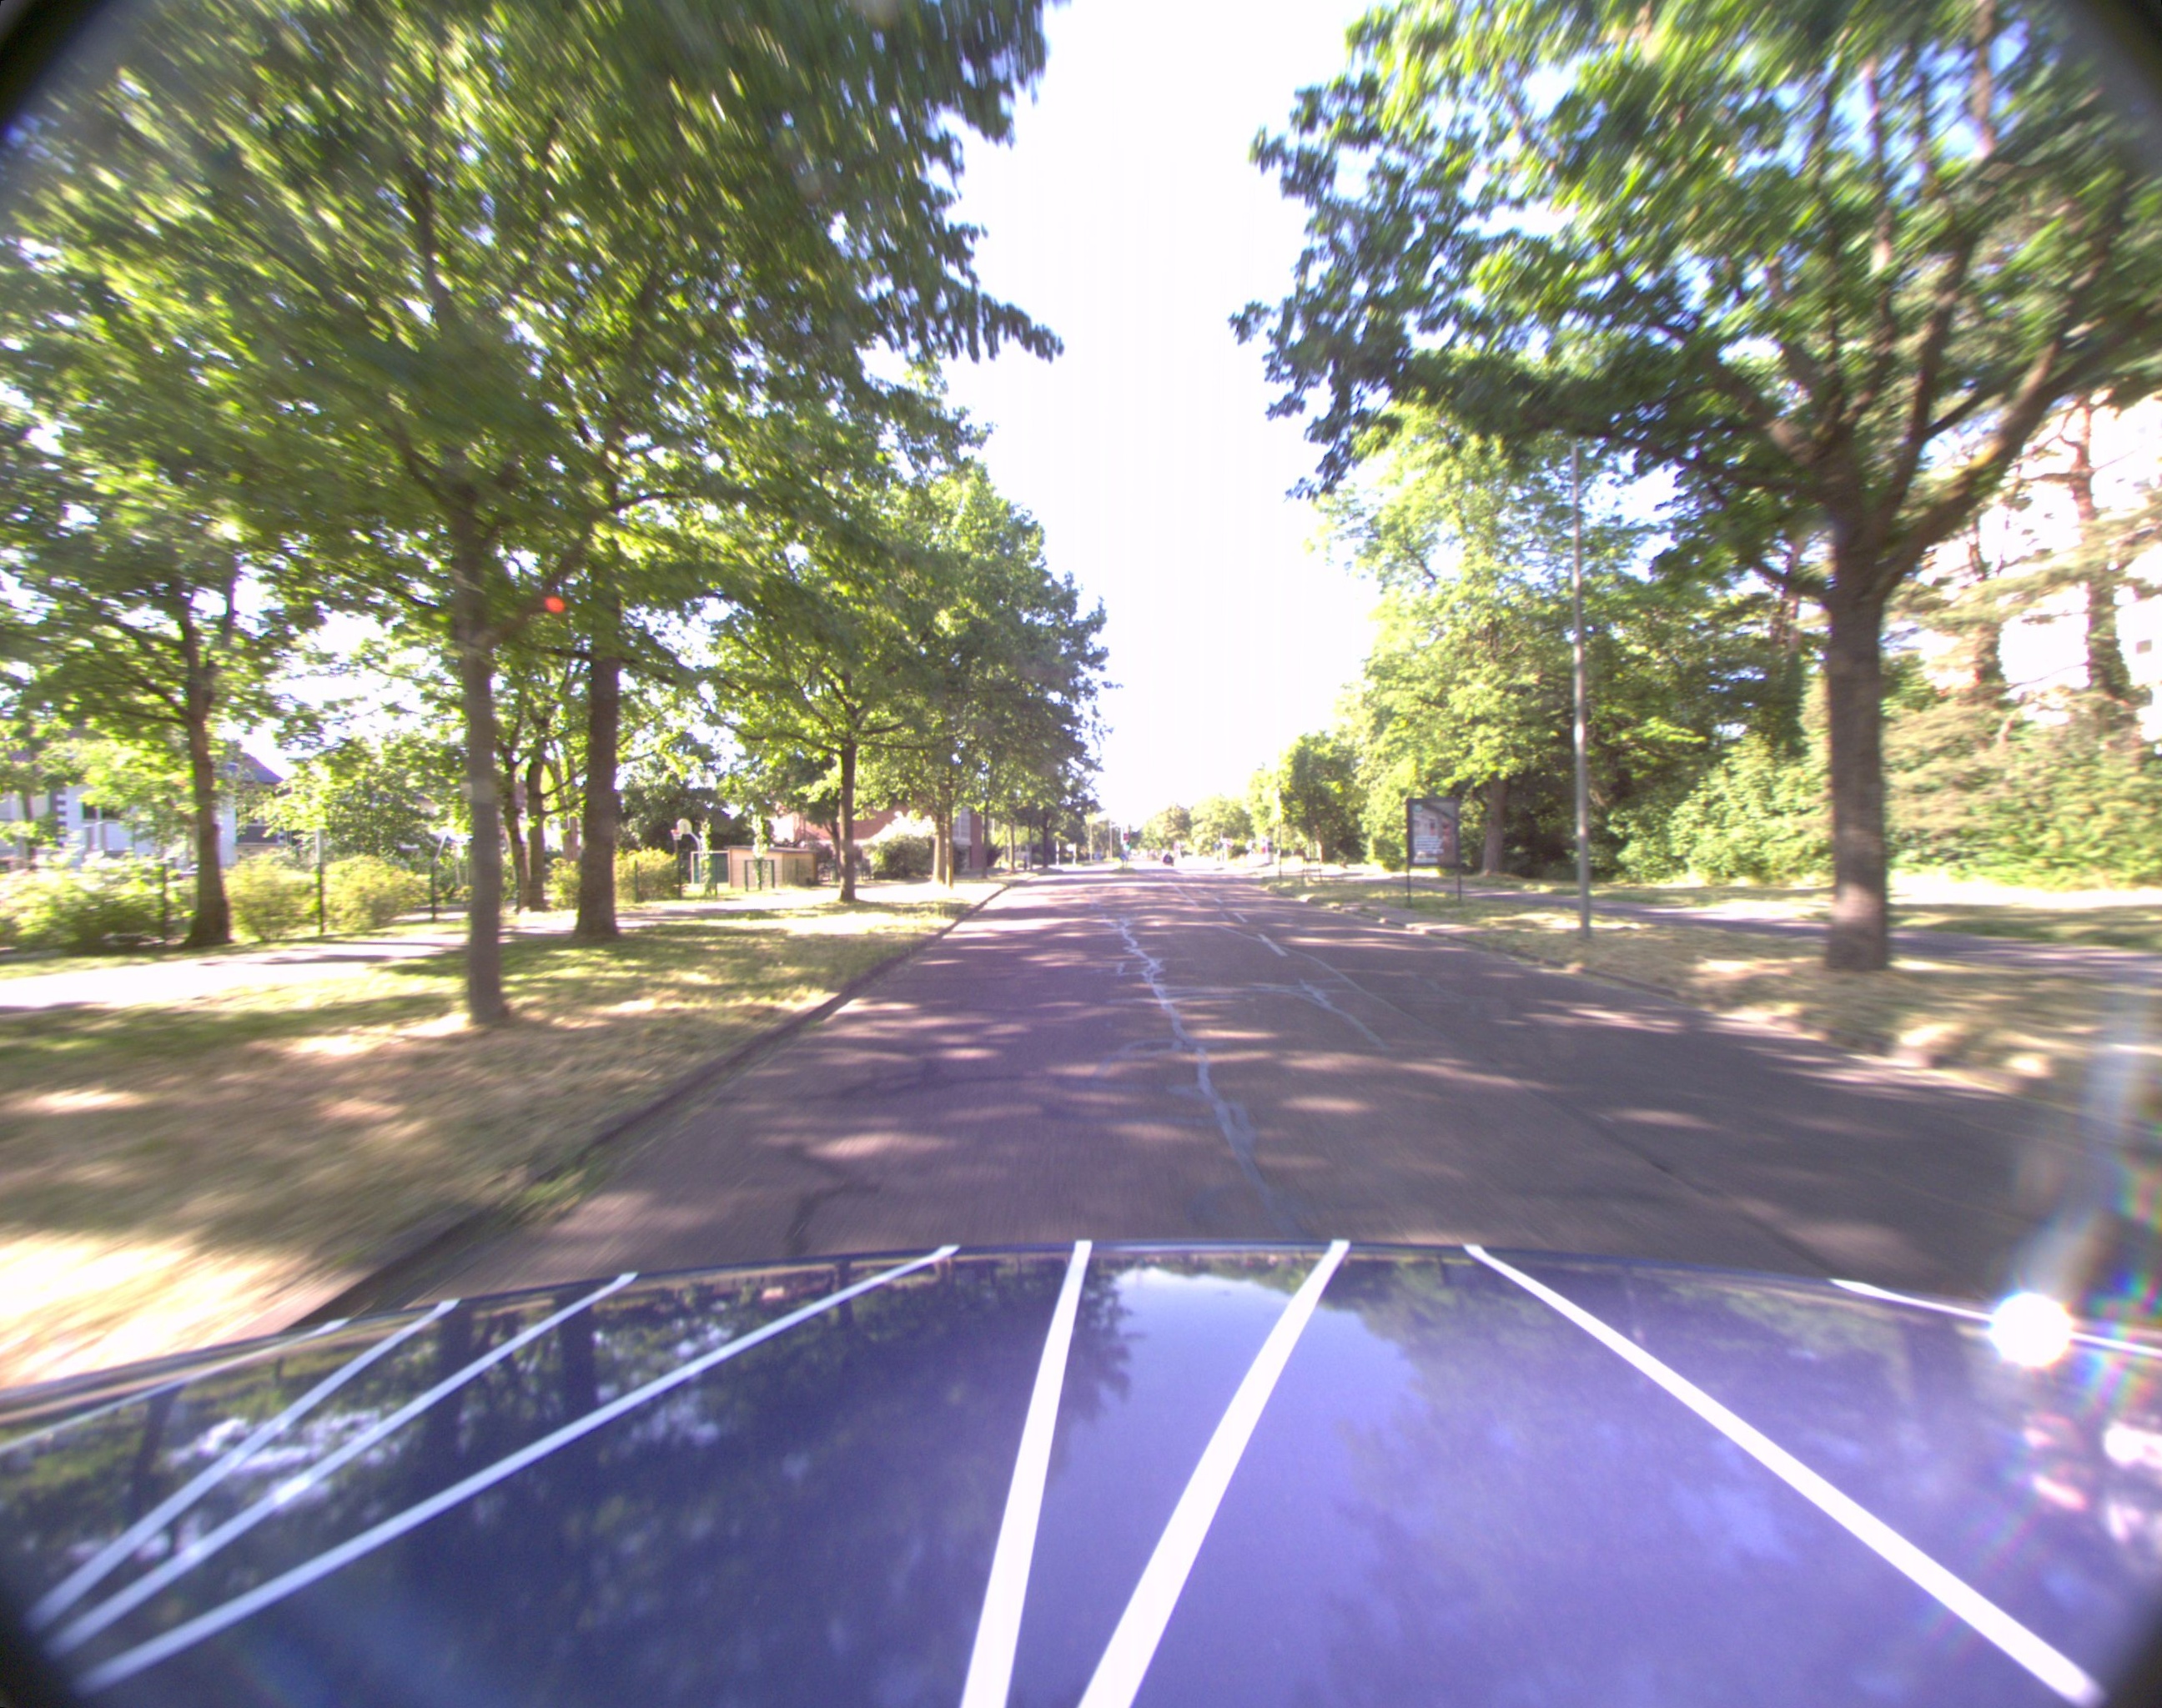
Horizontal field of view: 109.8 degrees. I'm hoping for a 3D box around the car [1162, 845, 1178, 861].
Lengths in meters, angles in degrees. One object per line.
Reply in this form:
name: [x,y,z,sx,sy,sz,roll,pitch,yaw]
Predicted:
car: [11.899,-0.192,101.870,1.904,2.082,3.642,1,1,3]
